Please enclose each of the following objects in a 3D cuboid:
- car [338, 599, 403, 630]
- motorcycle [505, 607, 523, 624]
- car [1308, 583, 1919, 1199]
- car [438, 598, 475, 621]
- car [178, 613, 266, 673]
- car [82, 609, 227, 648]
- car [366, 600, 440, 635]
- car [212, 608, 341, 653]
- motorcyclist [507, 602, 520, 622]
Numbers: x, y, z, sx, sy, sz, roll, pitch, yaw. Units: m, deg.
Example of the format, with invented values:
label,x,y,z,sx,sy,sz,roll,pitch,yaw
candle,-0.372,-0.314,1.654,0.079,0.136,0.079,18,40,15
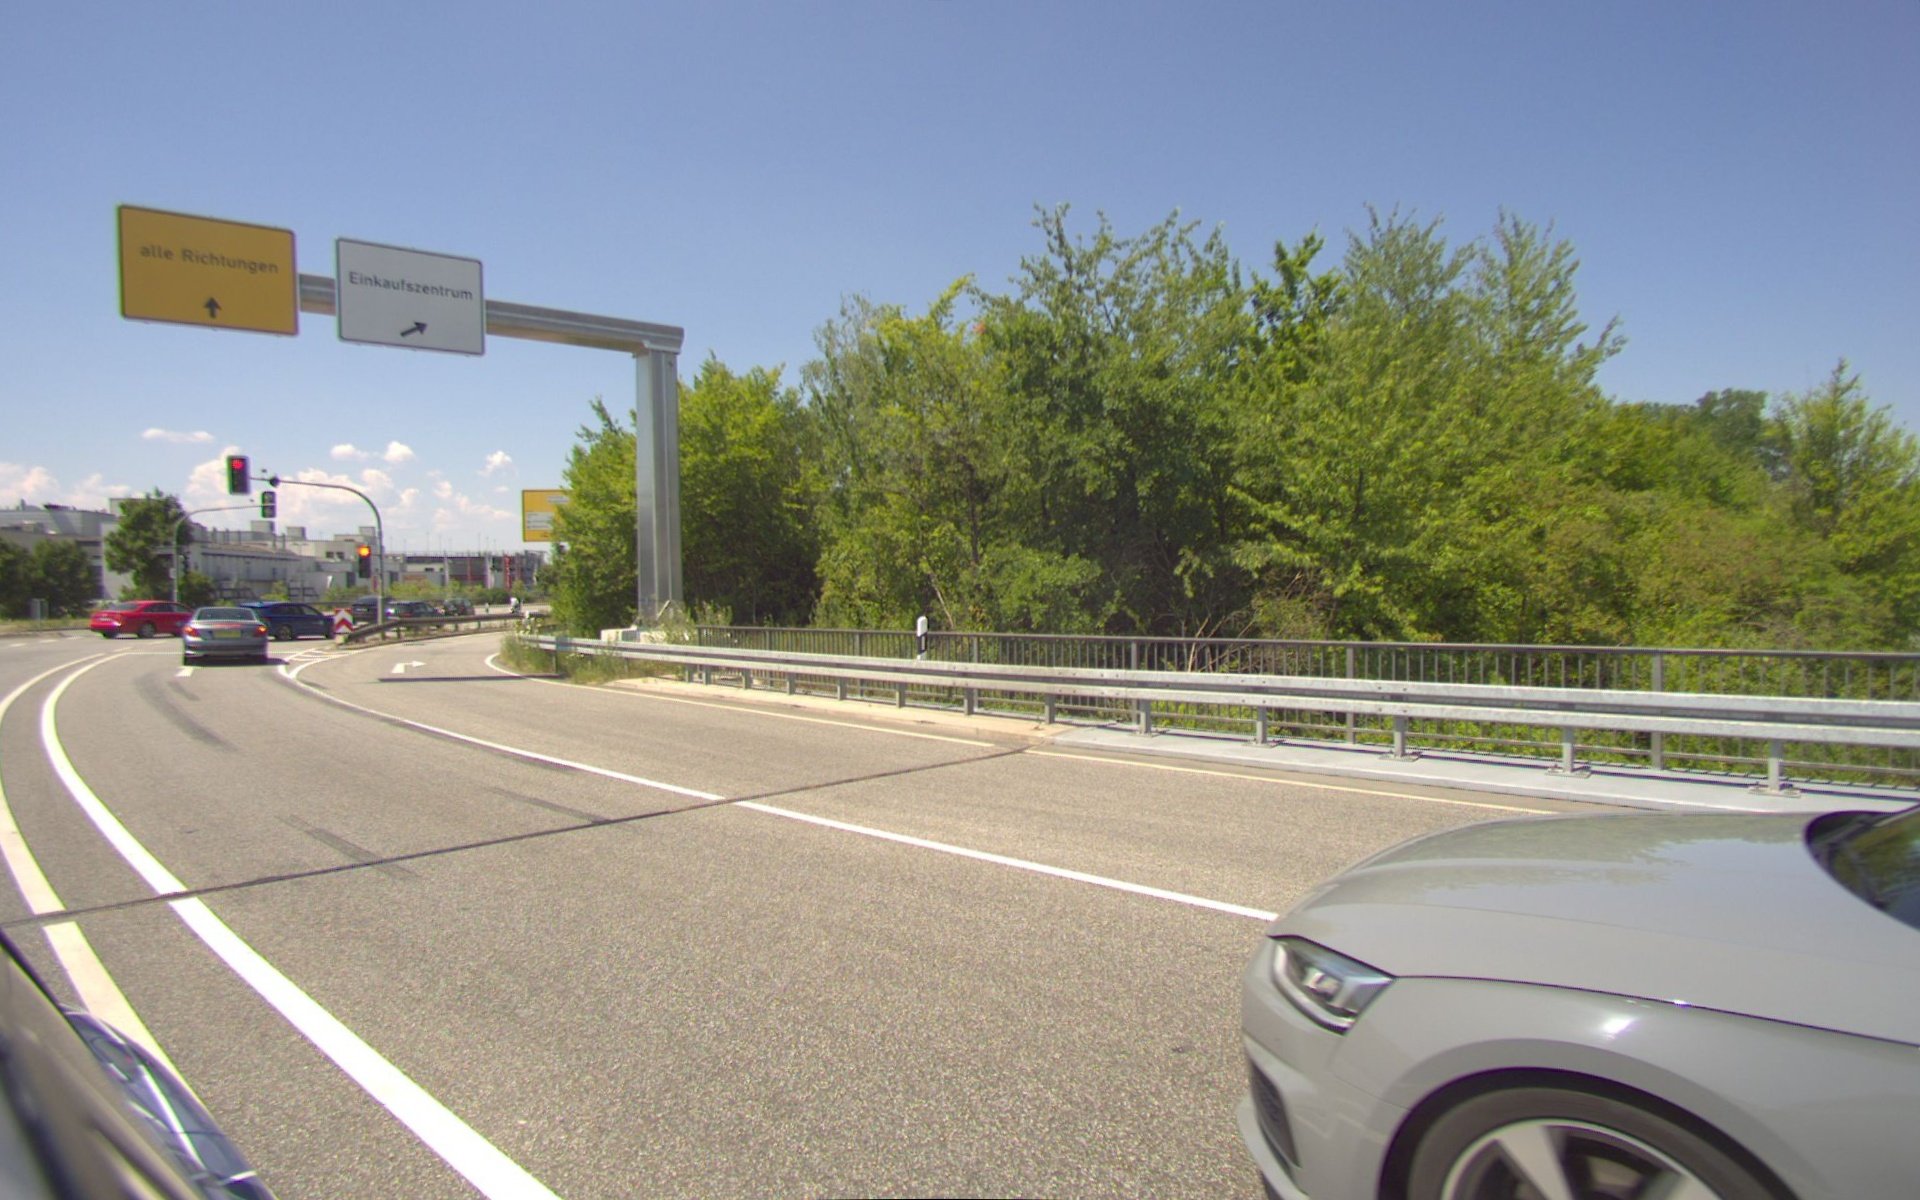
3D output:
label,x,y,z,sx,sy,sz,roll,pitch,yaw
car,-33.252,0.820,57.209,1.850,1.613,4.517,3,-1,-13
motorcycle,-35.411,1.236,80.353,0.570,1.247,1.941,2,2,0
car,2.892,0.673,1.350,4.275,1.395,1.762,-1,-1,37
car,-34.981,0.629,70.358,1.597,1.417,3.310,4,1,-14
car,-18.672,1.056,25.598,1.624,1.362,3.977,3,-2,-37
car,-30.985,1.067,39.114,1.647,1.399,4.438,2,-1,8
car,-27.527,0.840,50.140,1.755,1.493,4.438,3,1,-9
car,-25.717,1.112,38.280,1.690,1.473,4.486,1,1,3
motorcyclist,-35.402,0.925,80.294,0.605,1.551,0.847,2,2,1
